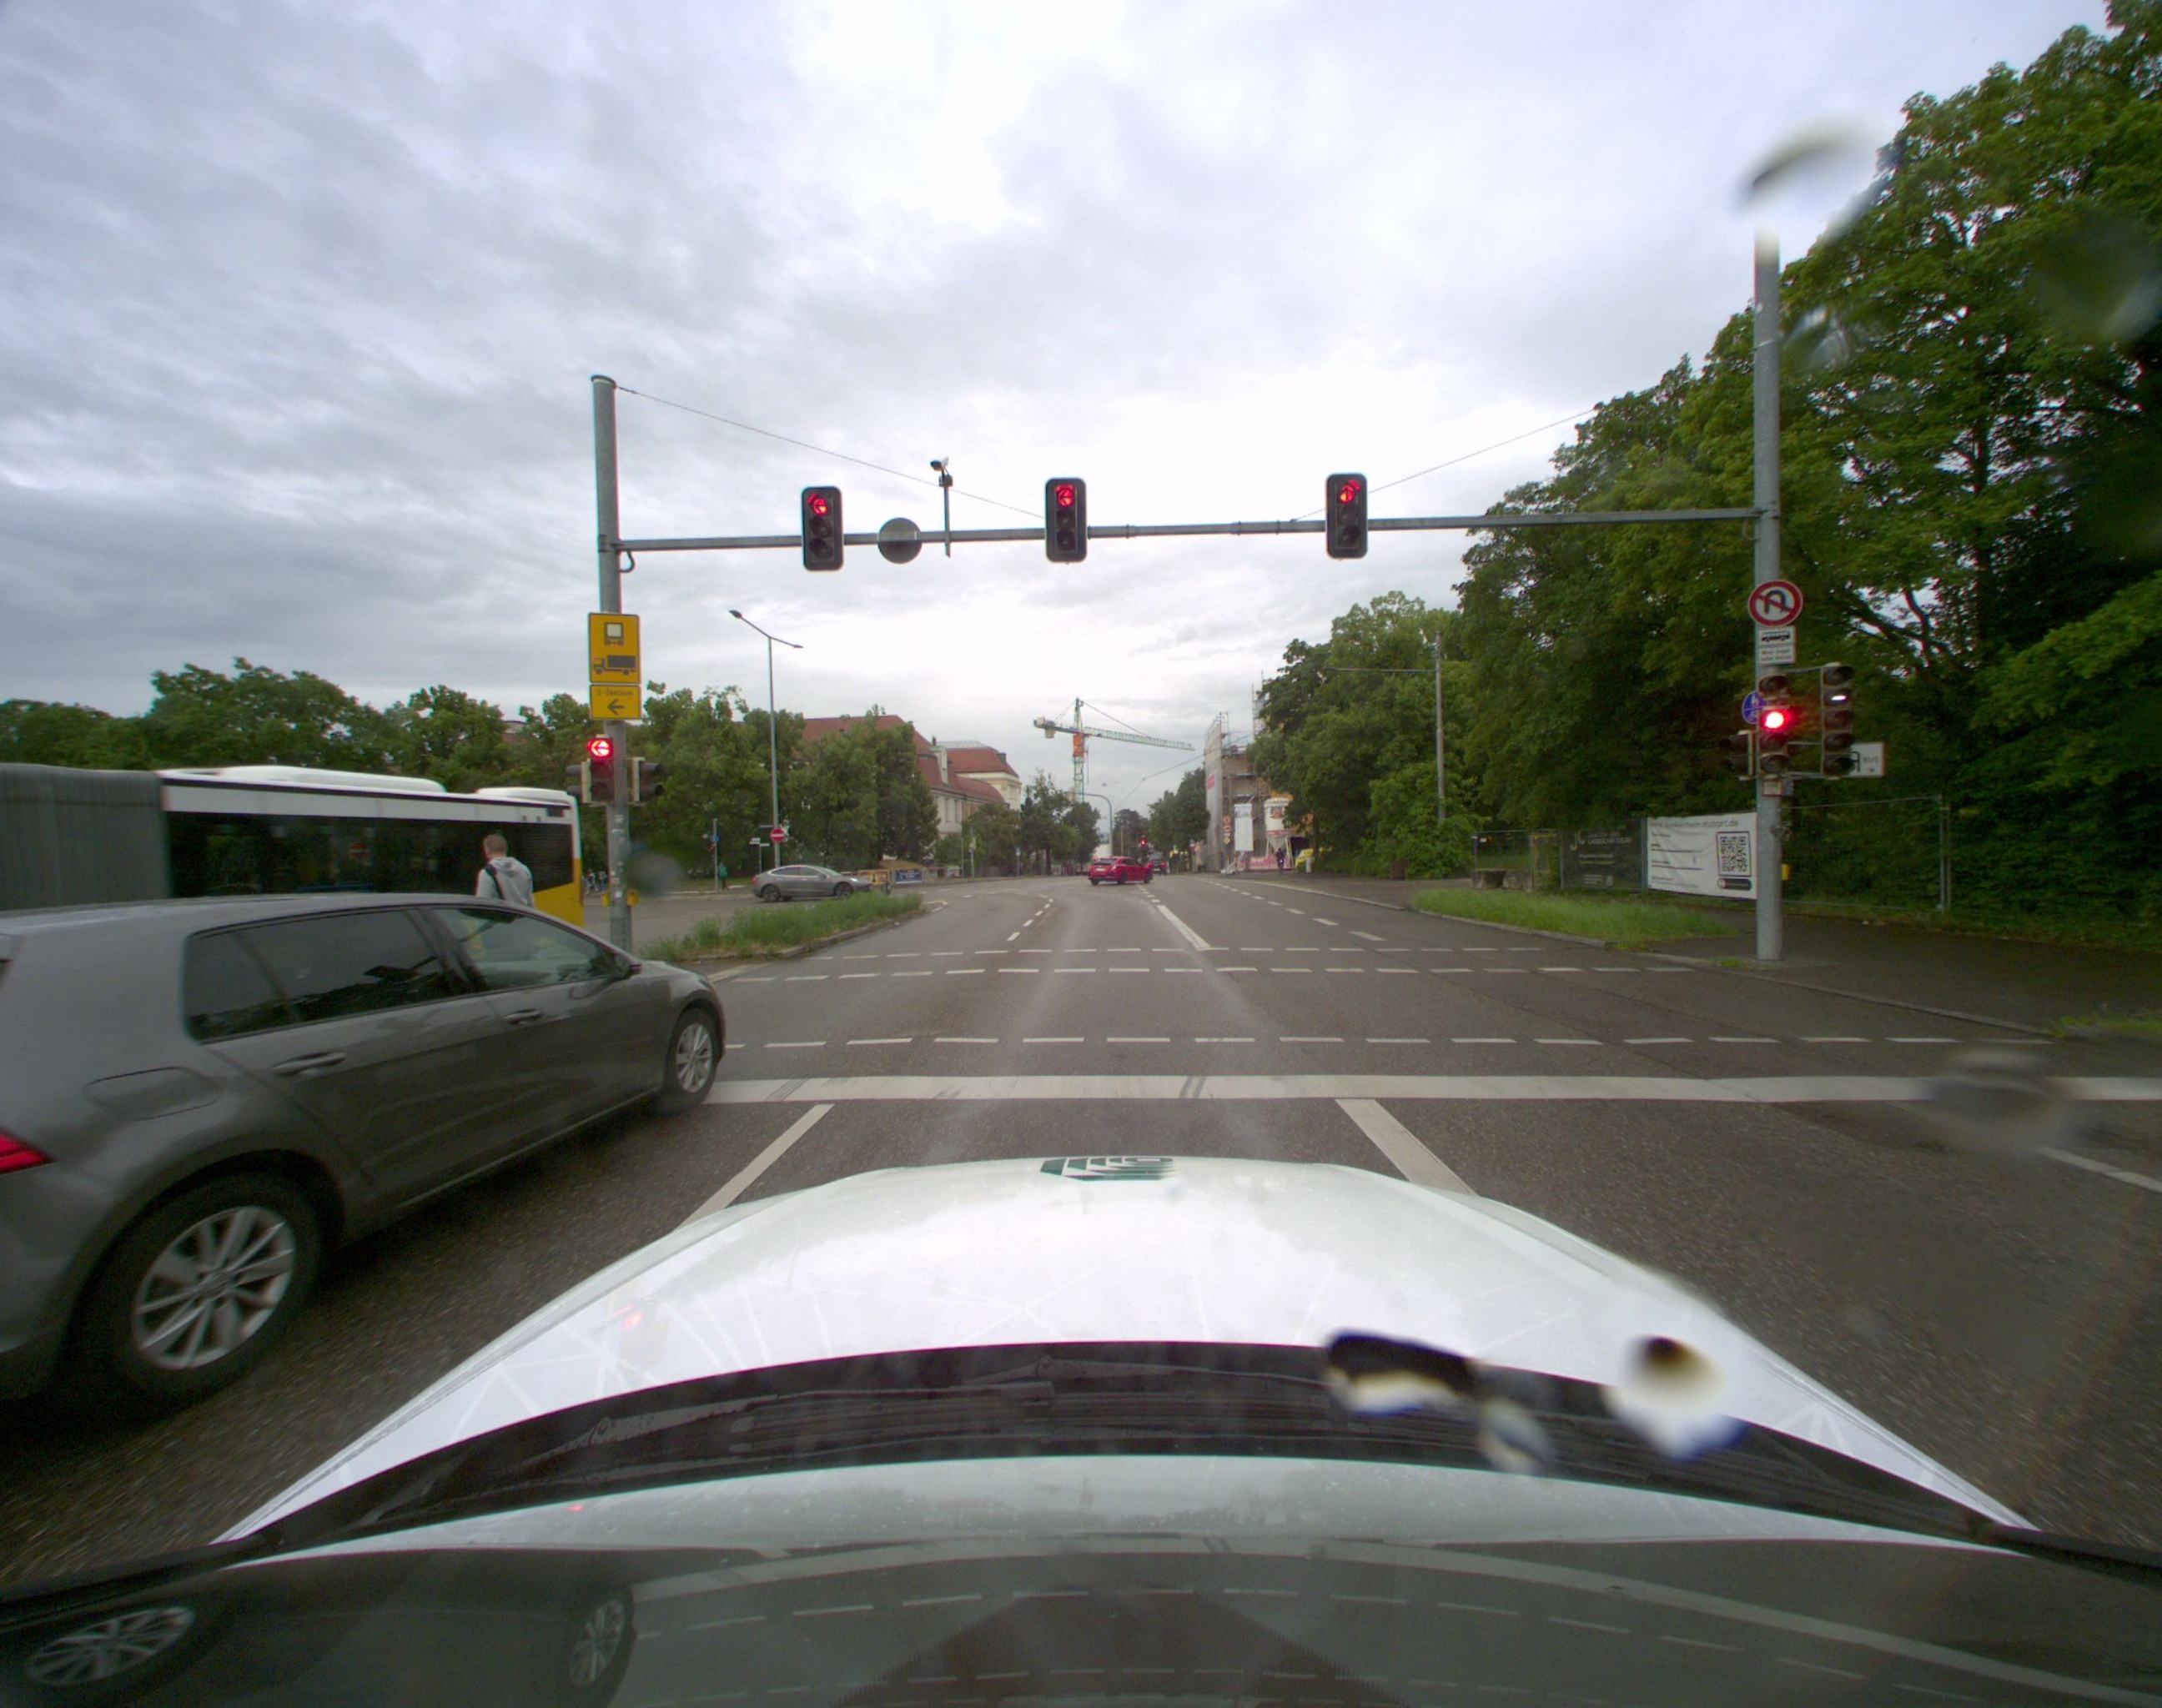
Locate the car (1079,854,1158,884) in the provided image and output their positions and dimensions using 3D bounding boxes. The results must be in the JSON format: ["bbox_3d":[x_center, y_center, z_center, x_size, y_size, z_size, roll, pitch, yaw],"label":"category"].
[{"bbox_3d":[2.005,0.761,42.138,1.974,1.425,4.548,-1,0,35],"label":"car"}]

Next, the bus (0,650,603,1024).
[{"bbox_3d":[-10.825,-0.109,11.483,2.878,3.307,8.577,-2,0,1],"label":"bus"}]

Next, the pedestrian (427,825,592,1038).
[{"bbox_3d":[-5.814,0.755,8.334,0.935,2.013,0.849,-4,-1,7],"label":"pedestrian"}]

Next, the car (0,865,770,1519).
[{"bbox_3d":[-3.282,0.843,3.798,1.798,1.429,4.200,-3,0,3],"label":"car"}]

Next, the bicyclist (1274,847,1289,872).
[{"bbox_3d":[12.817,0.359,52.154,0.717,1.564,1.143,0,-2,3],"label":"bicyclist"}]

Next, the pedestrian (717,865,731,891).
[{"bbox_3d":[-21.242,1.439,48.457,0.619,1.490,0.768,-2,0,-14],"label":"pedestrian"}]

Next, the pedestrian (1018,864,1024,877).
[{"bbox_3d":[-6.347,1.738,86.237,0.635,1.386,0.606,0,-2,1],"label":"pedestrian"}]

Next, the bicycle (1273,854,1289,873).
[{"bbox_3d":[12.830,0.608,52.241,0.717,1.193,1.757,0,-2,3],"label":"bicycle"}]

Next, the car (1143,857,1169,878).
[{"bbox_3d":[6.336,1.178,69.121,1.986,1.706,4.000,0,-2,1],"label":"car"}]

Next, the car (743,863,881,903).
[{"bbox_3d":[-10.553,1.133,32.260,4.756,1.425,1.999,-1,0,-2],"label":"car"}]

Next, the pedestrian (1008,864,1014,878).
[{"bbox_3d":[-7.331,1.753,85.441,0.584,1.429,0.467,0,-2,2],"label":"pedestrian"}]

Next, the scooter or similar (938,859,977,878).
[{"bbox_3d":[-10.369,1.226,68.450,3.078,1.440,0.948,-2,0,-1],"label":"scooter or similar"}]
